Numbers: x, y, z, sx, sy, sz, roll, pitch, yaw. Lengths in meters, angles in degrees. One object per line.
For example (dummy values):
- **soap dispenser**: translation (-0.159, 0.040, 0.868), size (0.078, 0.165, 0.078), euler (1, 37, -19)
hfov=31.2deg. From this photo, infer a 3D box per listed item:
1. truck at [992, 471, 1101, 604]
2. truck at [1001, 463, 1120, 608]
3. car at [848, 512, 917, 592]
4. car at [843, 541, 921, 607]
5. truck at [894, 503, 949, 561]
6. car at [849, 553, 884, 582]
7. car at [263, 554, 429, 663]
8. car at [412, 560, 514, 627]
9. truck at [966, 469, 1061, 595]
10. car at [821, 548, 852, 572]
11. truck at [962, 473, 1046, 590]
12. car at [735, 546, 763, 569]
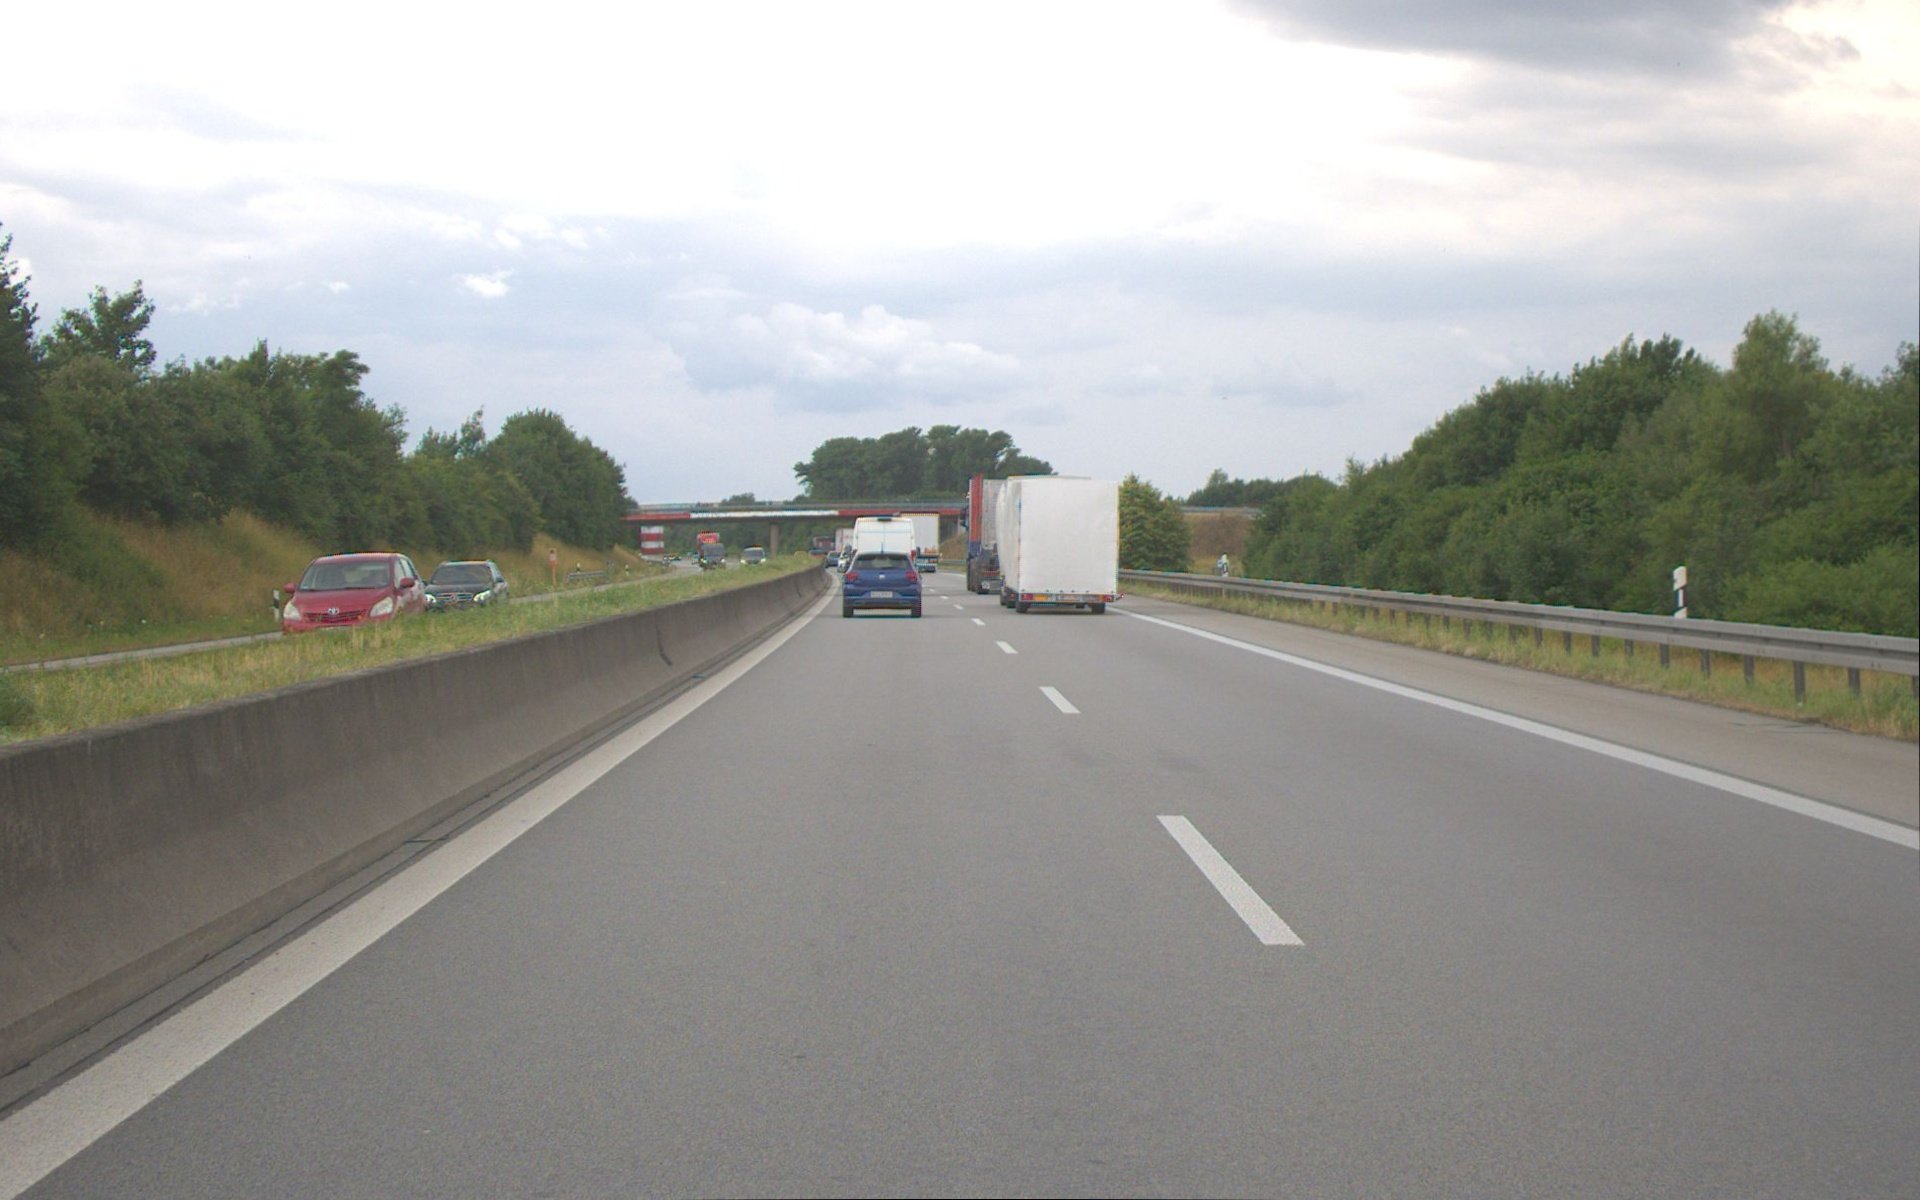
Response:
- **truck**: translation (2.130, -1.573, 87.330), size (2.429, 3.232, 7.248), euler (0, 1, -1)
- **truck**: translation (2.288, -1.481, 80.136), size (2.415, 3.211, 7.144), euler (0, 1, -1)
- **car**: translation (-2.512, -1.532, 110.190), size (2.130, 2.474, 5.840), euler (-1, 1, -2)
- **car**: translation (-1.686, -0.584, 74.868), size (1.663, 1.402, 3.649), euler (0, 1, -1)
- **truck**: translation (-2.603, -4.490, 228.953), size (3.110, 3.677, 9.324), euler (-2, 1, -3)
- **car**: translation (-5.478, -1.912, 202.371), size (1.935, 1.638, 4.903), euler (-1, 1, 0)
- **car**: translation (-9.673, 0.104, 54.446), size (1.845, 1.566, 4.361), euler (-2, 1, -1)
- **car**: translation (-12.305, -0.179, 85.346), size (1.845, 1.492, 4.580), euler (-3, 1, -1)
- **truck**: translation (1.730, -2.316, 116.501), size (2.673, 4.032, 11.108), euler (-1, 1, -2)
- **car**: translation (-8.427, -2.733, 234.923), size (1.993, 1.678, 4.001), euler (0, 1, -4)
- **truck**: translation (1.523, -2.432, 121.906), size (2.673, 4.032, 5.513), euler (-1, 1, -2)
- **car**: translation (-15.858, -3.211, 258.407), size (1.919, 1.688, 4.597), euler (-2, 1, -2)
